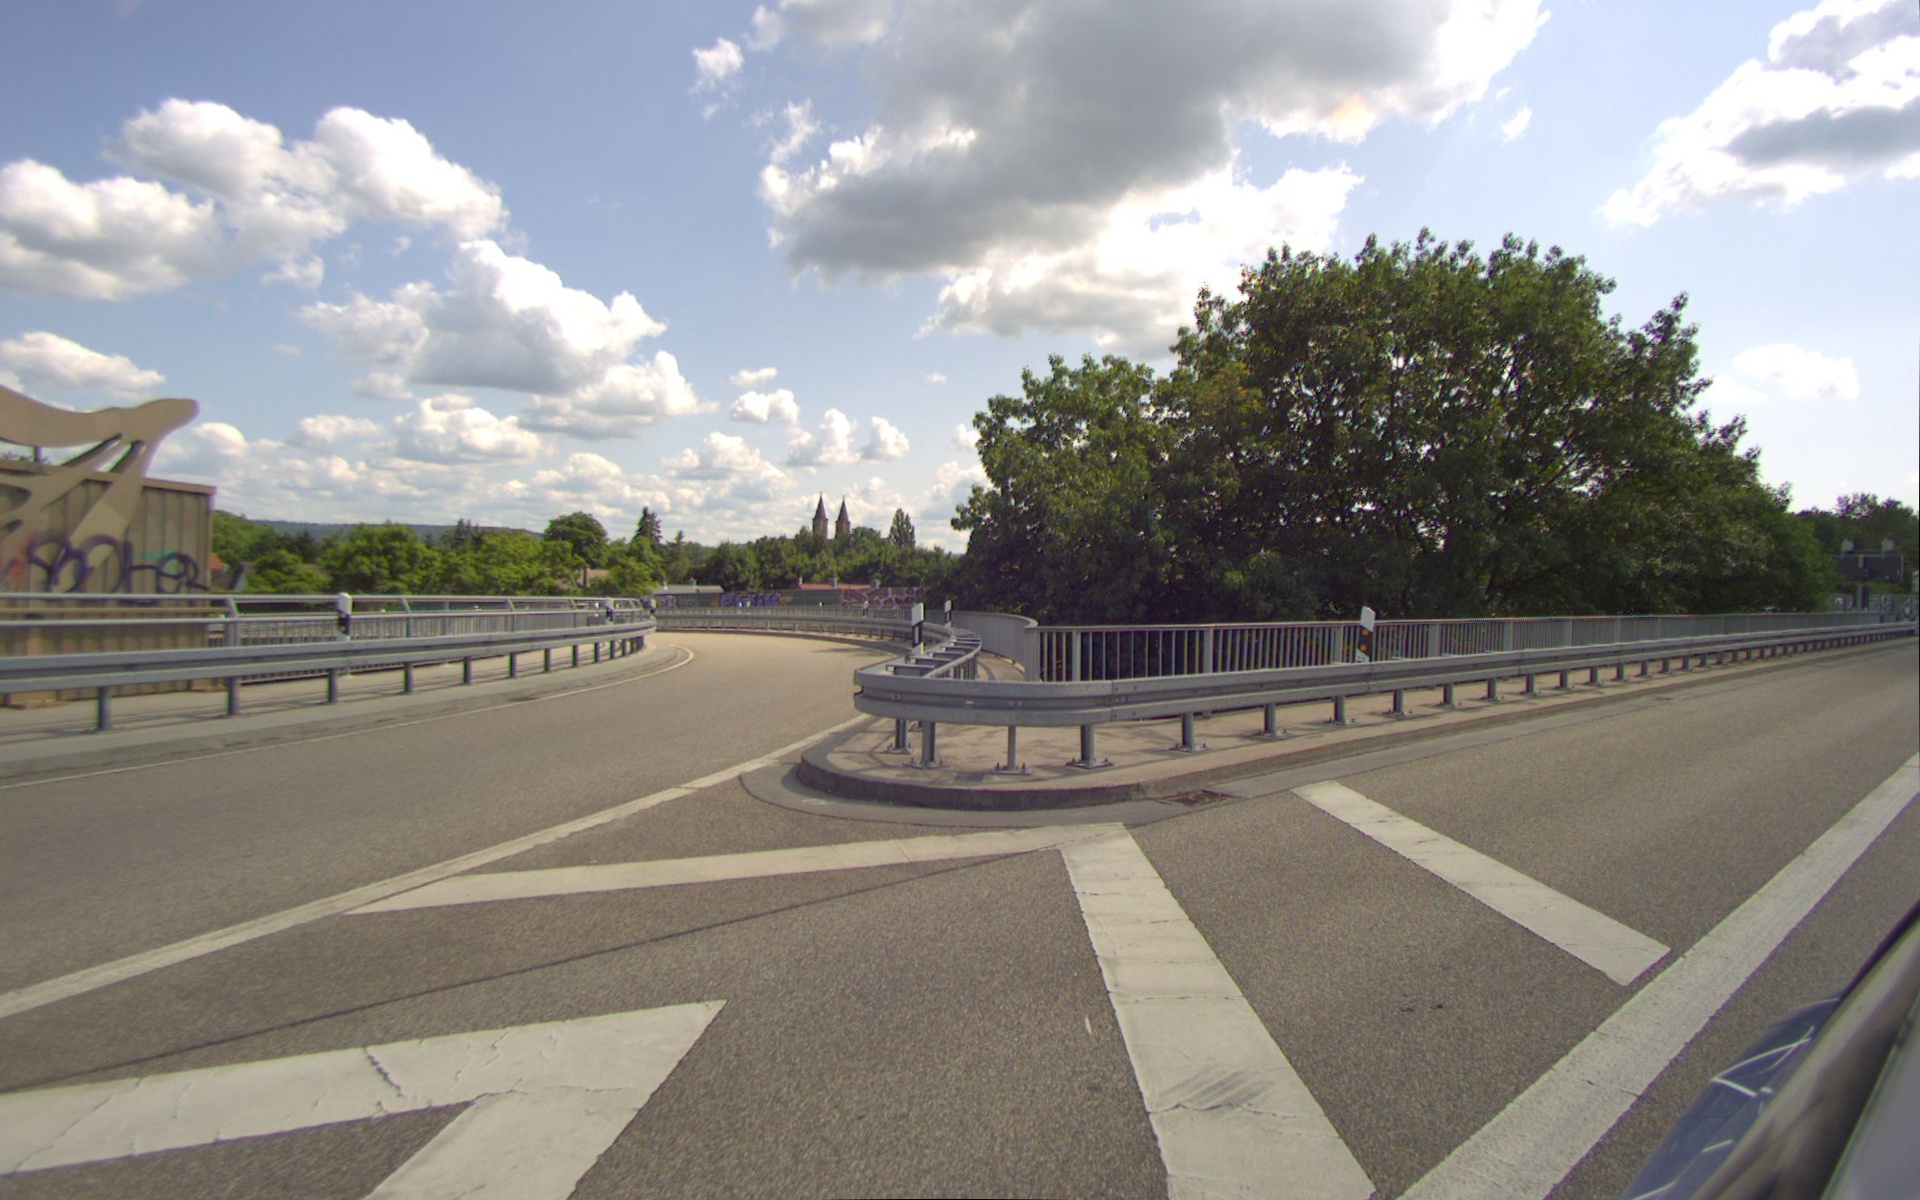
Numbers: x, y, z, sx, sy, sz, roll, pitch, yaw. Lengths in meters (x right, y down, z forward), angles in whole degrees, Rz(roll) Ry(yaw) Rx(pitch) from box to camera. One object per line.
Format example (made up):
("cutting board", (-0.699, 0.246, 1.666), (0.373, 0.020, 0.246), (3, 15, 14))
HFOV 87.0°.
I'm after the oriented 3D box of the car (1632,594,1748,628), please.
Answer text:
("car", (31.600, 0.483, 43.876), (3.700, 1.430, 1.769), (0, 0, 1))
